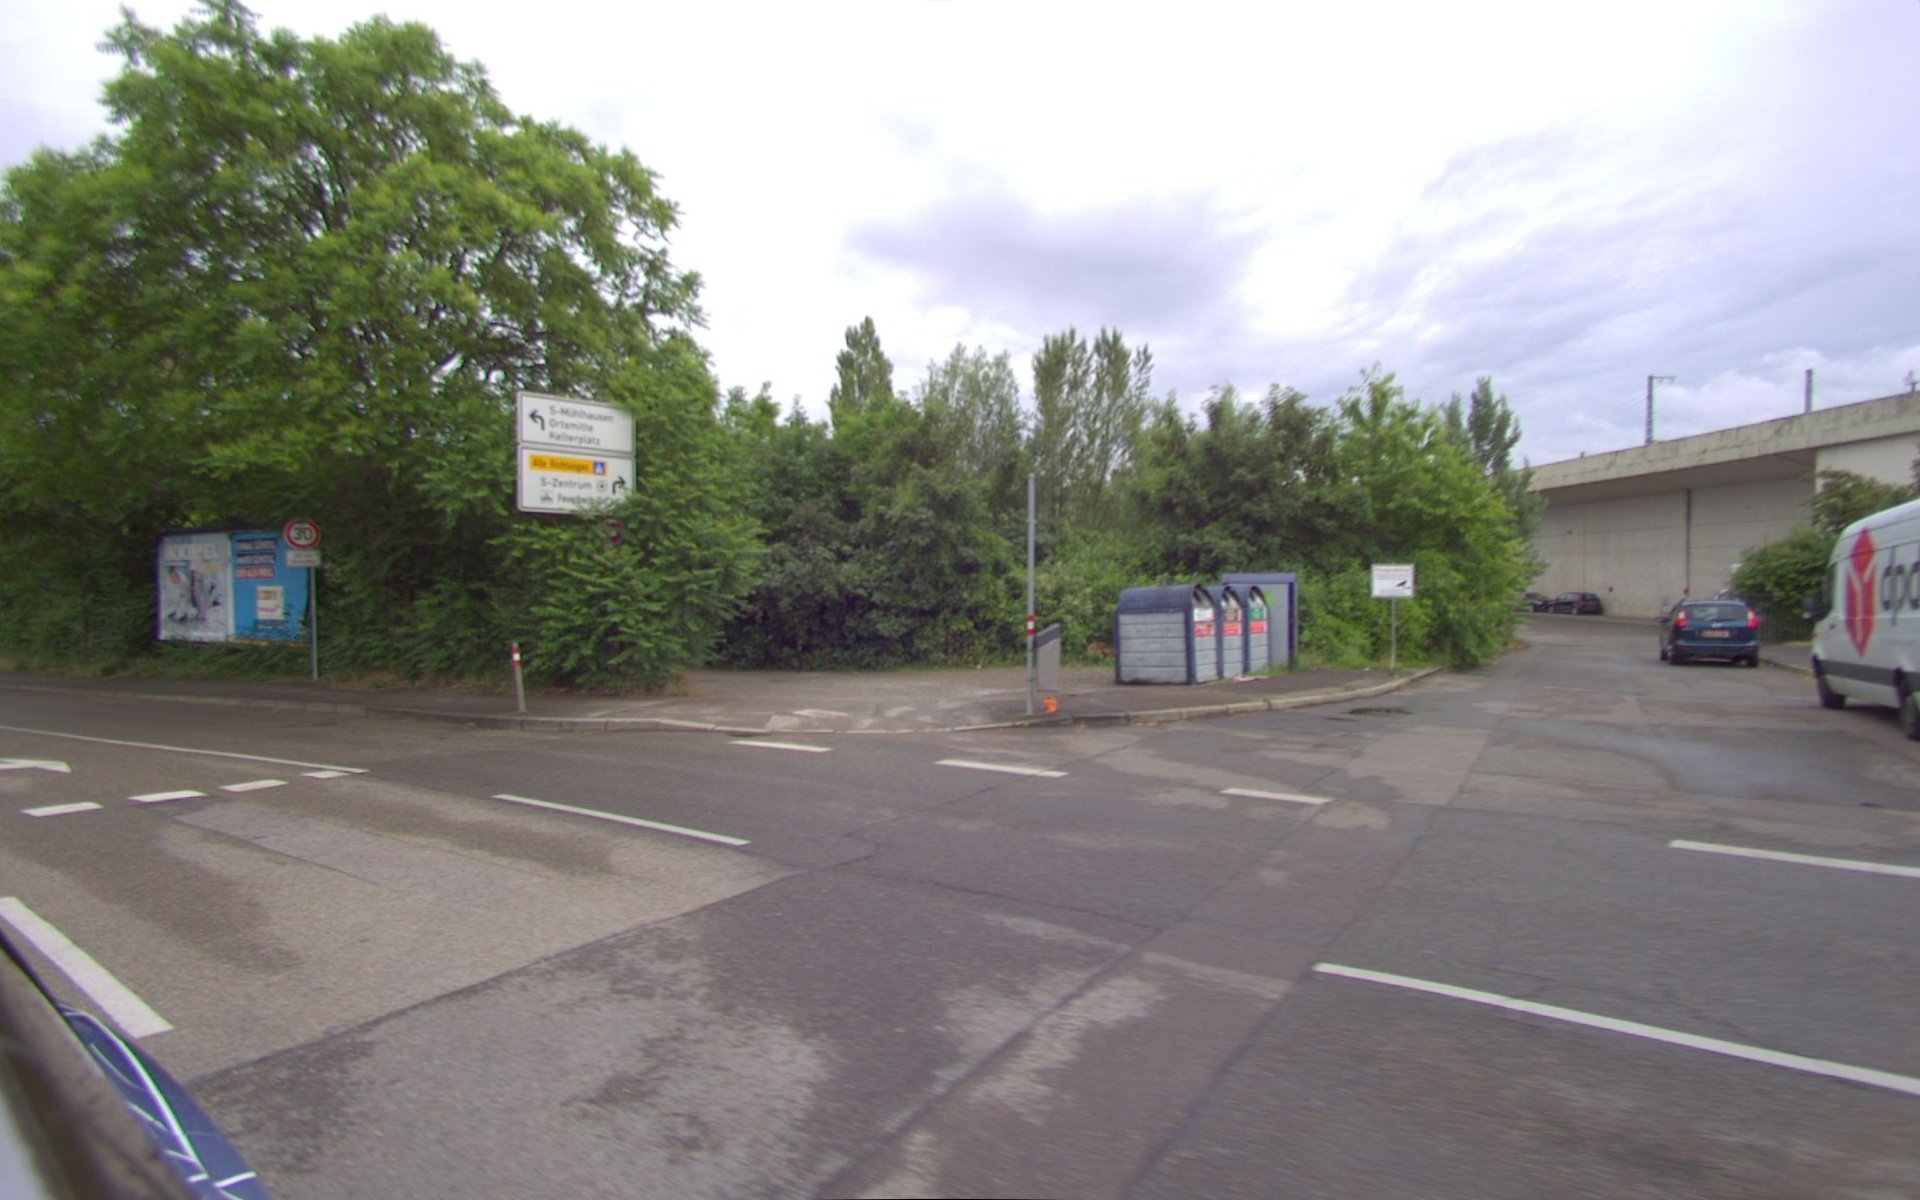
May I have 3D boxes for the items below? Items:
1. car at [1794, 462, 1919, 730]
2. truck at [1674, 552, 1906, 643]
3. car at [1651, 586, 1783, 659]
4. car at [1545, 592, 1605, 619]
[{"bbox_3d":[11.933,-0.085,11.857,2.255,2.675,6.752,-2,0,31],"label":"car"},{"bbox_3d":[36.581,-0.068,44.894,7.534,3.727,2.391,-1,0,15],"label":"truck"},{"bbox_3d":[18.759,0.511,25.278,1.991,1.642,4.212,-2,0,28],"label":"car"},{"bbox_3d":[44.118,0.376,72.671,1.974,1.808,3.996,-1,0,3],"label":"car"}]
